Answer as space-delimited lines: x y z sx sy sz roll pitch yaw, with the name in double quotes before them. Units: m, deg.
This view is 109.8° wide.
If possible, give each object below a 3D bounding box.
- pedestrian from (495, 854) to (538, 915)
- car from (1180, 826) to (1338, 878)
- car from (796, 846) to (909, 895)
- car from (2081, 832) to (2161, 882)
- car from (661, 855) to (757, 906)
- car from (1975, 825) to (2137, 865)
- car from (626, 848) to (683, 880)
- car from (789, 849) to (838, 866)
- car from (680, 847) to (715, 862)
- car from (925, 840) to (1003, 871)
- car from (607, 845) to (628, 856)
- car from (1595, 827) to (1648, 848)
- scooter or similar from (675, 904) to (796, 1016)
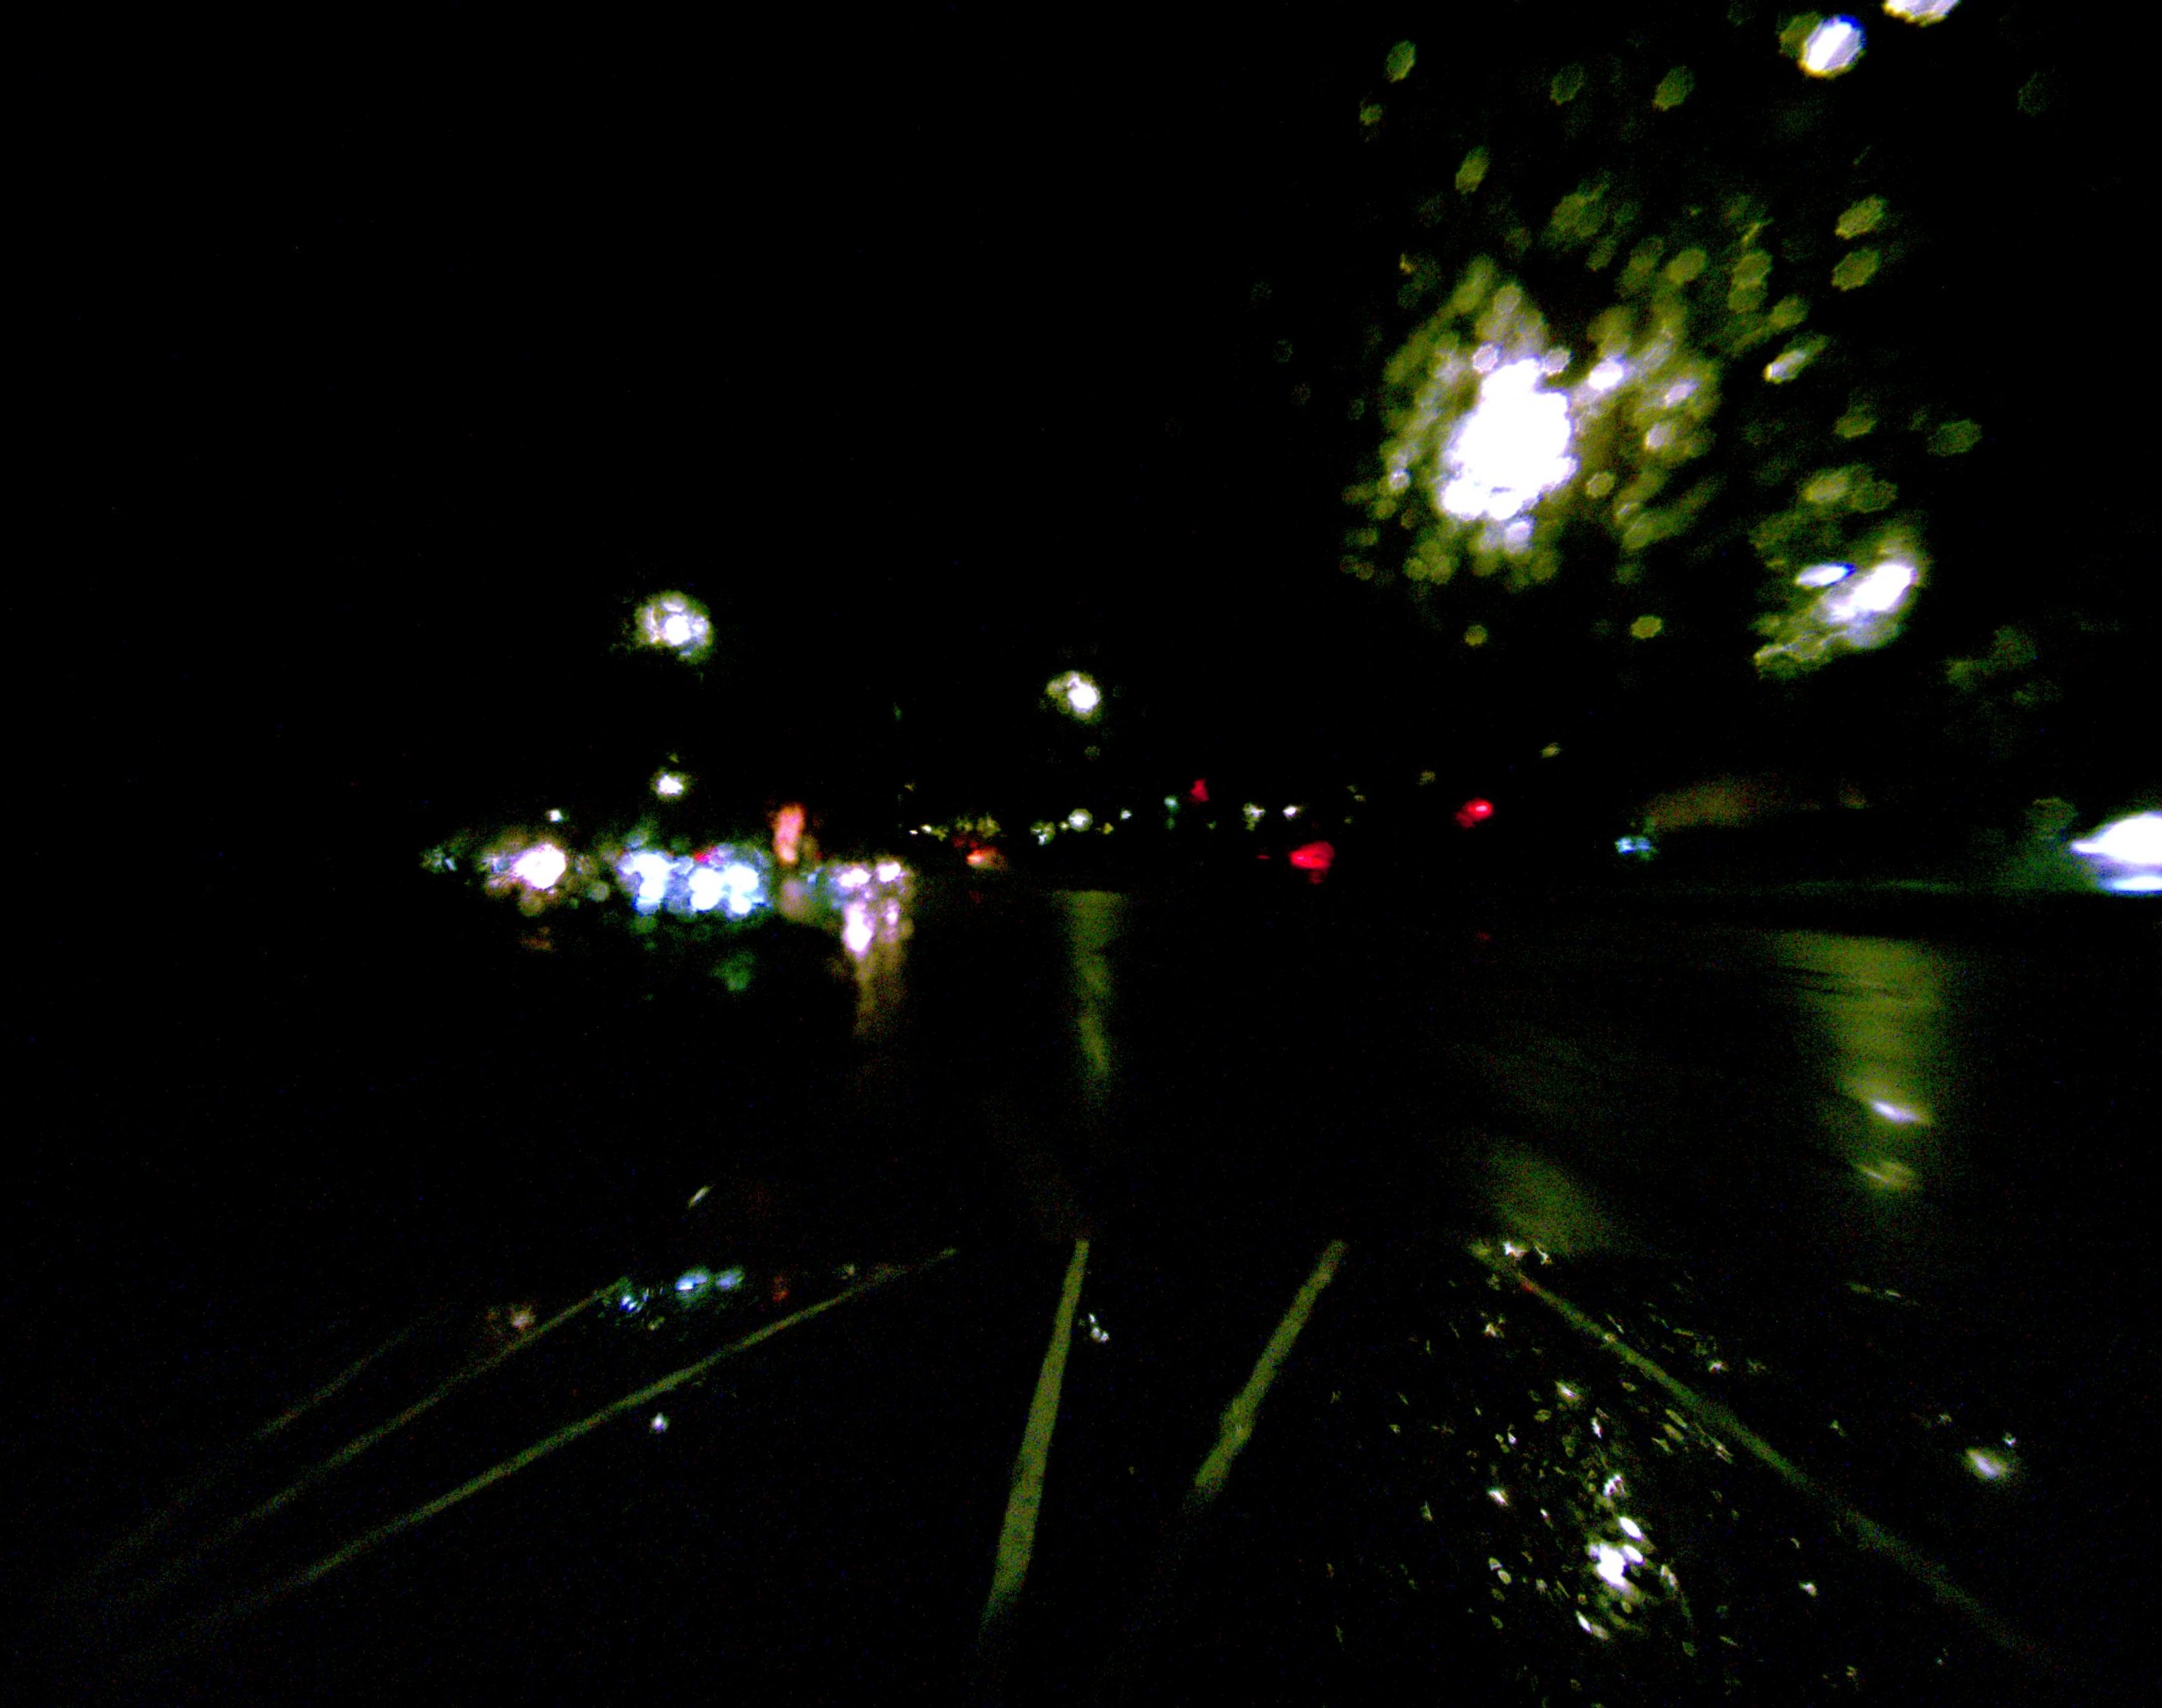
"pedestrian" -14.456 0.764 19.454 0.729 1.477 0.833 -4 3 -43
"car" 6.391 -0.070 27.477 5.117 1.722 2.066 -1 2 32
"car" -8.198 0.511 26.998 1.838 1.518 4.860 -4 3 -43
"car" 33.302 0.052 23.167 3.948 1.365 1.828 -2 2 -11
"car" -14.129 0.926 28.749 1.955 1.710 4.429 -4 3 -43
"car" 41.225 -0.422 32.309 1.758 1.565 3.999 -2 2 1
"car" -24.822 0.520 44.162 1.838 1.697 4.182 -4 3 -43
"car" -23.993 0.284 67.980 2.004 1.394 5.334 -4 3 -44
"car" -40.820 0.042 80.829 4.645 1.456 1.838 0 3 45
"car" -7.032 0.053 45.307 2.074 1.706 5.026 -4 3 -42
"car" -73.385 -0.513 120.261 1.838 1.704 4.428 -4 3 -43
"car" 43.122 -1.341 60.711 1.677 1.521 4.000 -2 2 4
"scooter or similar" -3.595 1.089 7.961 1.105 1.091 0.317 0 2 -15
